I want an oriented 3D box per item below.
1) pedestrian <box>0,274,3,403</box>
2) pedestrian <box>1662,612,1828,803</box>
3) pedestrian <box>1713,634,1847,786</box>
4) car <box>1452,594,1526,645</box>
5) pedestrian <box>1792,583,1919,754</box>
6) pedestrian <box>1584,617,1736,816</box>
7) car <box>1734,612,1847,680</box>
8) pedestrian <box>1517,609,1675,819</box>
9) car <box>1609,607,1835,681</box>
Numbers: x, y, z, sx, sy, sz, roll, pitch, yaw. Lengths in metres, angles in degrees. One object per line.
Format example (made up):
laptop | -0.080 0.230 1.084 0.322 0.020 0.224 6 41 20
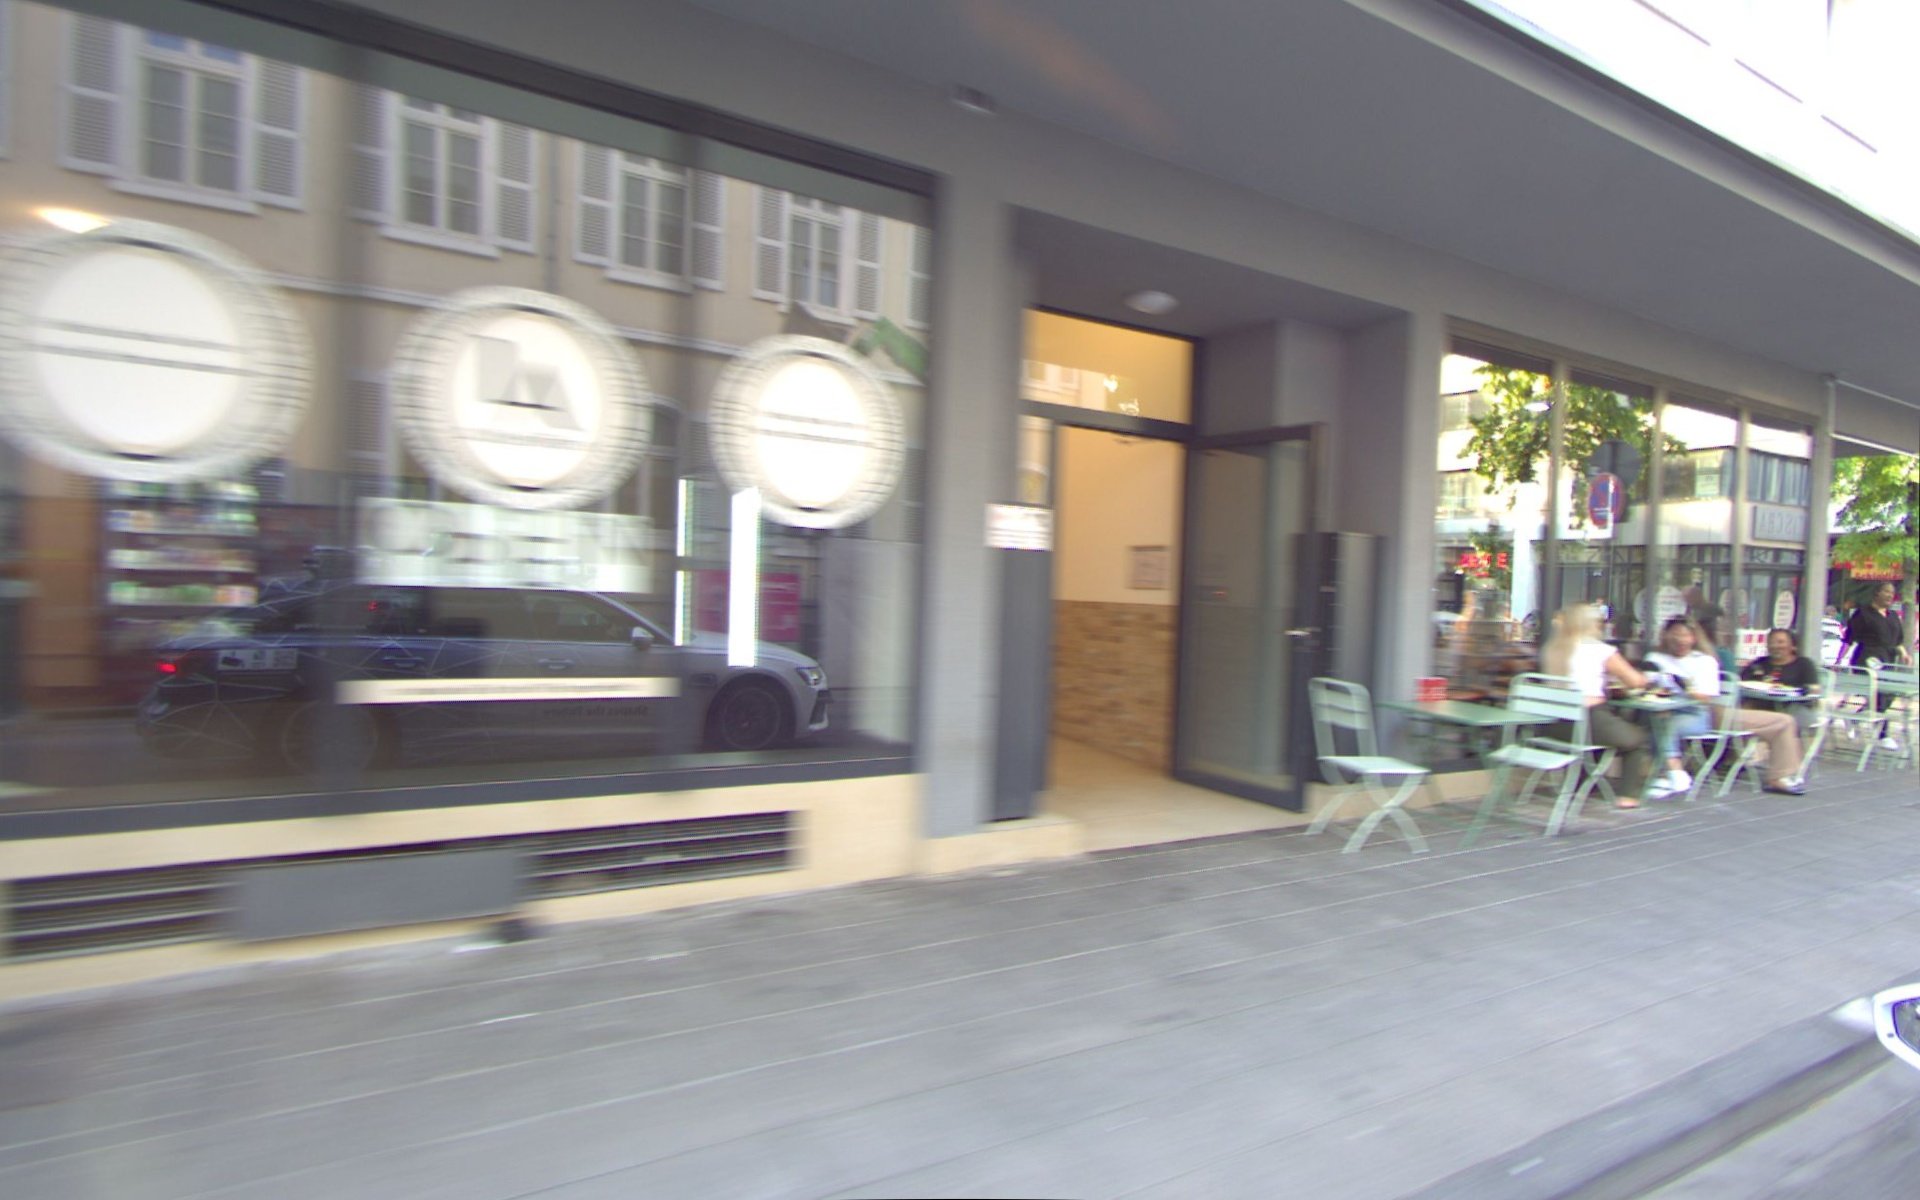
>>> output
pedestrian | -11.791 -2.327 9.439 3.919 2.040 2.001 1 0 8
pedestrian | 5.833 0.761 7.479 0.705 1.293 0.698 1 3 -30
pedestrian | 6.620 0.860 8.116 0.705 1.129 0.570 1 3 -30
car | 18.310 0.629 34.677 1.917 1.526 3.986 1 2 33
pedestrian | 9.552 0.684 10.649 0.783 1.690 0.902 3 2 21
pedestrian | 4.945 0.791 7.106 0.705 1.293 0.570 1 3 -30
car | 22.937 1.205 27.904 1.917 1.526 3.986 1 2 33
pedestrian | 4.244 0.724 6.712 0.705 1.293 0.570 1 3 -30
car | 19.494 1.085 25.878 1.809 1.613 4.245 4 -1 -33
